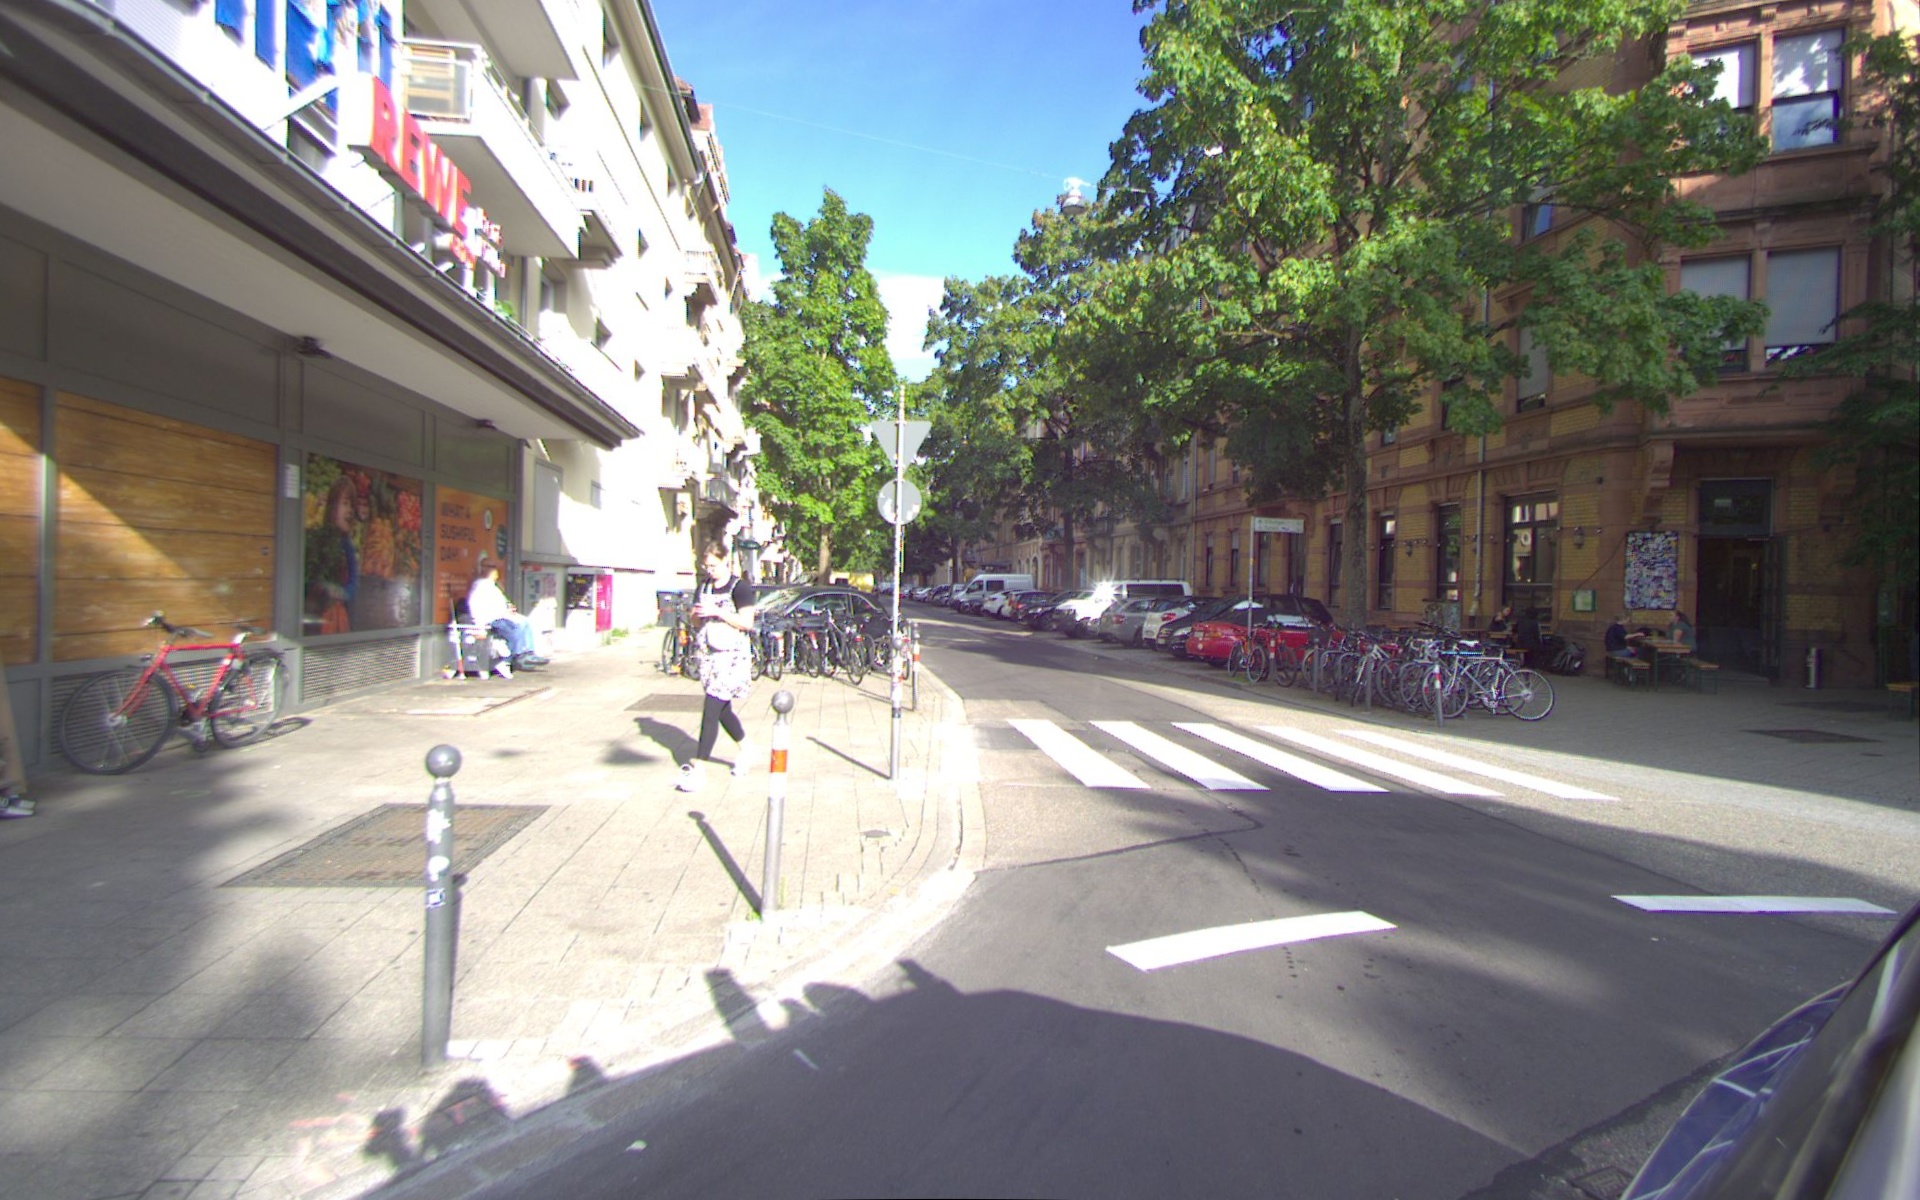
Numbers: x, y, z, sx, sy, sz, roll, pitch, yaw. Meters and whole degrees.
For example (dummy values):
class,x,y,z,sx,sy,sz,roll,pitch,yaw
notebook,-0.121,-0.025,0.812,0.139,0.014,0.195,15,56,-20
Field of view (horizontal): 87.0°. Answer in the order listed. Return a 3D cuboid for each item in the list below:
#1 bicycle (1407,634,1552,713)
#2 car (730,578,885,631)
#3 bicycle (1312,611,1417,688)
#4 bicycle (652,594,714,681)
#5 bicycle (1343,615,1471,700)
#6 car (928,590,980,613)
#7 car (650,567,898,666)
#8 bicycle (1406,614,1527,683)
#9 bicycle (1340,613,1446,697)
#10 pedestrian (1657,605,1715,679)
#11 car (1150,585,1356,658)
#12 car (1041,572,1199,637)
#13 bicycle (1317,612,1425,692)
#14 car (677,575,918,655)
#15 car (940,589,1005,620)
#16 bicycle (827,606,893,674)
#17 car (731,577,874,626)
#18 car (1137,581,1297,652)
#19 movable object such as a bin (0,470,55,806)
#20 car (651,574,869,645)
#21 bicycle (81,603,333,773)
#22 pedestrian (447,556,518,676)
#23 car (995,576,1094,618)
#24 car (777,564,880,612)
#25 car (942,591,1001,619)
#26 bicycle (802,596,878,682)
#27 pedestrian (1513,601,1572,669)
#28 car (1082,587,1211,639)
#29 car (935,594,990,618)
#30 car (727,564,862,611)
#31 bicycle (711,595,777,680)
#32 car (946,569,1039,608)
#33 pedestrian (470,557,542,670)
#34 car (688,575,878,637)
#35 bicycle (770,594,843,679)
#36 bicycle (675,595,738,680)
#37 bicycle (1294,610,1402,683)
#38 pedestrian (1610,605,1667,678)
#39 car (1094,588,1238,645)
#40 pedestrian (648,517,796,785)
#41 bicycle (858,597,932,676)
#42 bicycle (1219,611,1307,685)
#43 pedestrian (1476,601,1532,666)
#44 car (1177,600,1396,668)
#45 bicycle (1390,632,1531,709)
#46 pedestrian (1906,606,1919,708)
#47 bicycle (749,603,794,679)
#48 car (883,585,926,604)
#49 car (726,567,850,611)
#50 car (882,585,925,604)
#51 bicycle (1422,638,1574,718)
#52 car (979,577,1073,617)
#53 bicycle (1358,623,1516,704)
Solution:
class,x,y,z,sx,sy,sz,roll,pitch,yaw
bicycle,6.988,0.981,13.663,1.683,0.999,0.447,0,1,7
car,-4.833,0.166,32.309,4.540,1.514,1.751,2,0,-34
bicycle,6.758,0.811,16.915,1.676,1.216,0.449,-1,1,-14
bicycle,-3.999,0.509,14.555,0.413,1.099,1.701,2,2,-29
bicycle,6.684,0.850,15.169,1.683,1.216,0.447,0,1,7
car,-0.518,0.158,81.091,3.919,1.754,1.832,1,-1,-7
car,-3.304,0.298,18.058,3.918,1.473,1.813,4,1,-29
bicycle,8.699,0.825,17.413,1.765,1.127,0.600,0,1,-2
bicycle,6.802,0.843,15.883,1.676,1.216,0.449,-1,1,-20
pedestrian,12.814,0.731,17.864,0.629,1.274,0.512,0,2,1
car,6.815,0.464,23.875,4.230,1.589,2.007,-1,1,0
car,5.329,0.106,34.094,4.811,2.014,2.050,-2,1,-9
bicycle,6.675,0.830,16.428,1.676,1.216,0.449,-1,1,-14
car,-3.273,0.325,20.957,4.584,1.473,1.953,2,0,-41
car,0.803,0.299,66.889,4.043,1.898,2.002,1,-1,-5
bicycle,-1.652,0.636,16.531,0.483,1.014,1.425,2,0,-31
car,-5.397,0.058,34.976,4.540,1.514,1.751,2,0,-34
car,6.702,0.418,26.597,3.634,1.743,1.862,1,-1,-4
movable object such as a bin,-5.312,0.198,4.827,0.676,1.776,1.552,3,0,-9
car,-4.419,0.248,22.857,4.548,1.452,1.748,2,0,-41
bicycle,-5.342,0.569,7.304,0.572,1.046,1.534,3,1,3
pedestrian,-6.271,0.203,13.321,0.654,1.525,0.755,1,0,-12
car,4.055,-0.174,49.018,4.367,1.856,1.940,-2,1,-9
car,-6.686,-0.576,51.774,4.721,2.249,2.147,2,-1,-38
car,0.780,0.346,71.244,3.919,1.841,1.832,1,-1,-7
bicycle,-1.864,0.559,15.487,0.405,1.190,1.855,2,0,-31
pedestrian,11.396,0.671,19.807,0.753,1.301,0.630,-1,0,-8
car,5.794,0.387,31.691,3.634,1.476,1.672,-1,1,-4
car,0.203,0.458,76.369,3.919,1.754,1.832,1,-1,-7
car,-6.052,-0.426,37.181,4.540,1.514,1.751,2,0,-34
bicycle,-3.175,0.525,14.804,0.413,1.099,1.701,2,2,-29
car,1.939,-0.678,61.529,5.372,2.229,2.002,1,-1,-5
pedestrian,-6.331,0.177,14.141,0.738,1.525,0.669,1,0,-10
car,-4.576,0.167,26.489,4.540,1.452,1.751,2,0,-34
bicycle,-2.393,0.527,15.596,0.405,1.190,1.855,2,0,-31
bicycle,-3.704,0.516,14.711,0.413,1.099,1.701,2,2,-29
bicycle,6.685,0.790,17.459,1.679,1.216,0.448,0,1,-2
pedestrian,12.042,0.728,17.968,0.629,1.240,0.512,0,2,1
car,5.813,0.456,28.749,3.634,1.476,1.671,-2,0,-4
pedestrian,-1.686,0.336,7.165,0.826,1.775,0.614,1,0,-32
bicycle,-1.112,0.581,16.937,0.405,1.190,1.855,2,0,-31
bicycle,5.374,0.814,18.106,0.570,1.109,2.503,-2,2,-6
pedestrian,11.114,0.672,20.693,0.753,1.301,0.630,-1,0,-8
car,6.726,0.671,21.021,4.028,1.286,1.570,-1,0,-8
bicycle,6.951,0.971,14.103,1.683,0.999,0.447,0,1,7
pedestrian,13.484,0.794,13.693,0.657,1.396,0.717,1,1,4
bicycle,-2.839,0.587,15.156,0.404,1.031,1.505,2,0,-20
car,-5.266,-0.495,95.243,3.919,1.754,1.832,1,-1,-7
car,-6.795,-0.422,40.176,4.540,1.514,1.751,2,0,-34
car,-5.458,-0.484,97.586,3.919,1.754,1.832,1,-1,-7
bicycle,6.996,1.007,13.206,1.683,0.981,0.447,0,1,7
car,3.301,-0.175,51.167,4.367,1.856,1.940,-2,1,-9
bicycle,6.839,0.901,14.568,2.010,1.102,0.447,0,1,7
